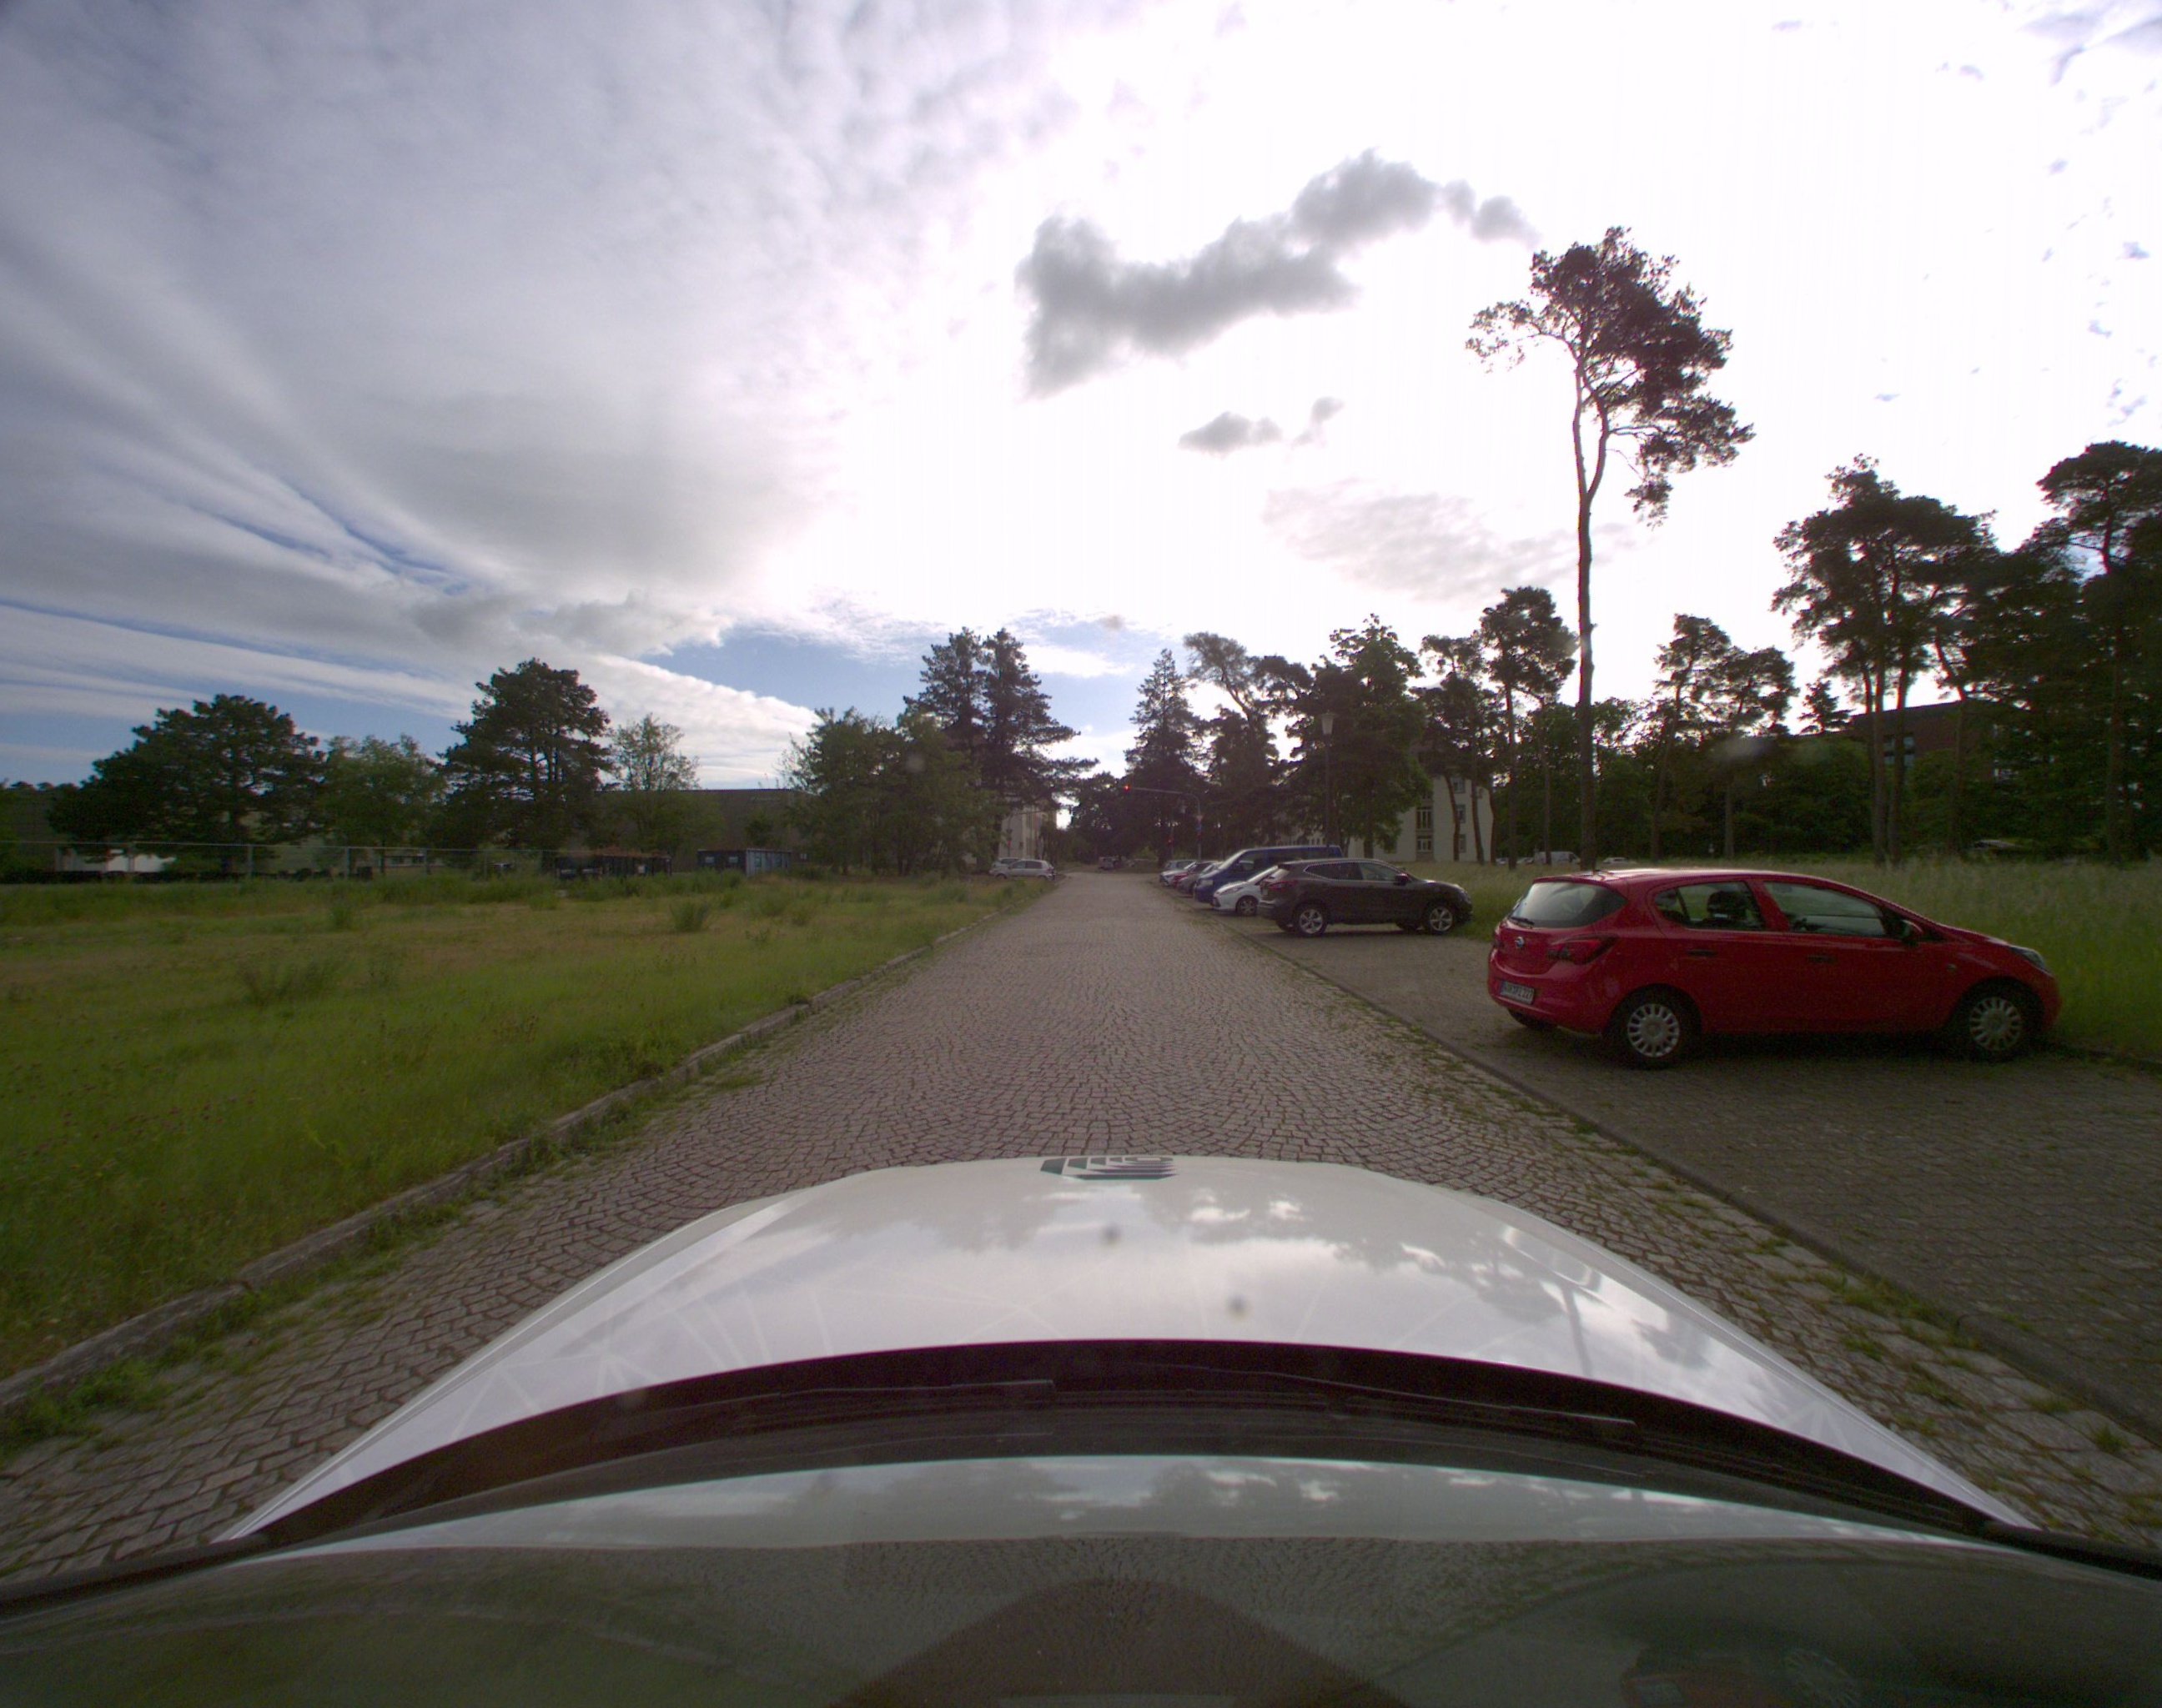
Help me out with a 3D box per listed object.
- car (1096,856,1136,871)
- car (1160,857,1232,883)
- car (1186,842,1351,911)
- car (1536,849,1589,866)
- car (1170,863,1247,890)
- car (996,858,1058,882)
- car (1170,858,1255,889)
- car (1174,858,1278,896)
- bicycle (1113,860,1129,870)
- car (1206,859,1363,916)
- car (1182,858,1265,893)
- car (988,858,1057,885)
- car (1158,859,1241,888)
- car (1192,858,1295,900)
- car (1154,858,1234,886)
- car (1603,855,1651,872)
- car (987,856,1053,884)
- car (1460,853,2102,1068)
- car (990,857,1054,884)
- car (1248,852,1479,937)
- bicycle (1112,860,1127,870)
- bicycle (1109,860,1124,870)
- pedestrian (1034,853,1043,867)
[{"bbox_3d":[5.025,1.296,116.805,5.378,2.101,2.170,0,0,-11],"label":"car"},{"bbox_3d":[7.017,0.969,49.819,4.127,1.463,1.631,-1,0,-4],"label":"car"},{"bbox_3d":[5.914,0.702,26.099,4.781,2.004,1.966,-1,0,-1],"label":"car"},{"bbox_3d":[60.253,0.413,101.972,5.279,2.019,2.107,1,-1,2],"label":"car"},{"bbox_3d":[6.203,1.085,39.803,3.572,1.223,1.629,-1,0,2],"label":"car"},{"bbox_3d":[-3.771,1.106,56.939,4.290,1.554,1.809,-1,0,-5],"label":"car"},{"bbox_3d":[6.772,0.972,42.137,4.092,1.476,1.684,-1,0,-1],"label":"car"},{"bbox_3d":[6.058,0.953,34.311,4.115,1.447,1.766,-1,0,2],"label":"car"},{"bbox_3d":[5.009,1.393,101.992,1.878,1.171,0.664,1,-1,-4],"label":"bicycle"},{"bbox_3d":[5.816,0.934,23.552,4.086,1.479,1.720,-1,0,-2],"label":"car"},{"bbox_3d":[6.446,0.954,37.173,3.493,1.487,1.743,-1,0,1],"label":"car"},{"bbox_3d":[-3.685,1.106,51.676,4.290,1.554,1.809,-1,0,-5],"label":"car"},{"bbox_3d":[6.435,1.029,44.506,4.179,1.437,1.752,-1,0,-6],"label":"car"},{"bbox_3d":[6.207,0.944,31.402,3.640,1.479,1.766,-1,0,1],"label":"car"},{"bbox_3d":[6.537,1.016,47.273,4.228,1.479,1.704,-1,0,-9],"label":"car"},{"bbox_3d":[61.089,1.026,91.213,4.115,1.804,1.901,1,-1,3],"label":"car"},{"bbox_3d":[-4.033,1.069,54.489,4.289,1.732,1.650,-1,0,-4],"label":"car"},{"bbox_3d":[5.573,0.786,6.888,3.911,1.496,1.784,-1,0,0],"label":"car"},{"bbox_3d":[-3.533,0.980,49.077,3.710,1.481,1.672,2,0,-2],"label":"car"},{"bbox_3d":[5.827,0.801,17.194,4.191,1.595,1.952,-1,0,-1],"label":"car"},{"bbox_3d":[4.879,1.398,102.855,1.878,1.171,0.664,1,-1,-4],"label":"bicycle"},{"bbox_3d":[4.611,1.417,105.498,1.878,1.171,0.664,1,-1,-4],"label":"bicycle"},{"bbox_3d":[-5.993,0.795,114.709,1.070,1.959,1.122,1,-1,2],"label":"pedestrian"}]
